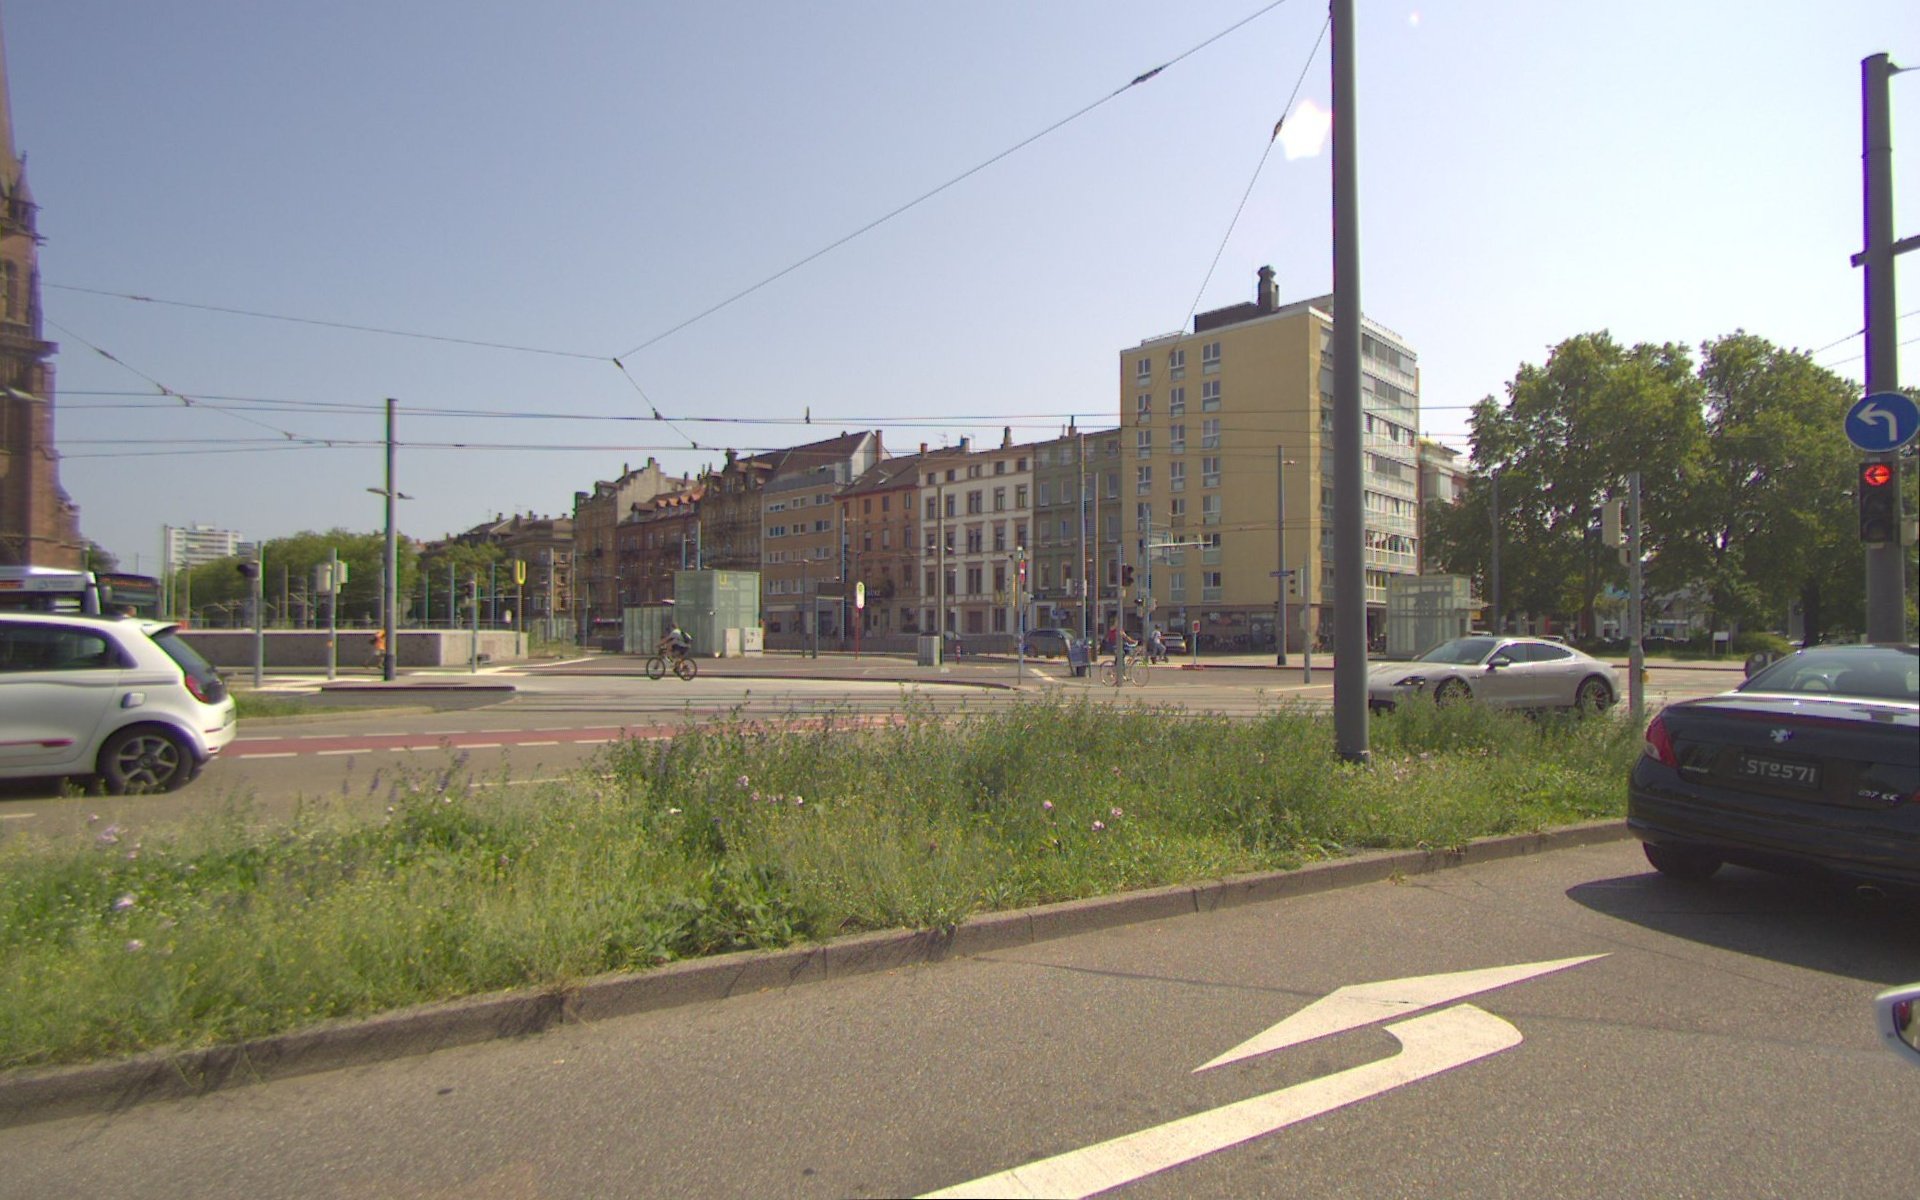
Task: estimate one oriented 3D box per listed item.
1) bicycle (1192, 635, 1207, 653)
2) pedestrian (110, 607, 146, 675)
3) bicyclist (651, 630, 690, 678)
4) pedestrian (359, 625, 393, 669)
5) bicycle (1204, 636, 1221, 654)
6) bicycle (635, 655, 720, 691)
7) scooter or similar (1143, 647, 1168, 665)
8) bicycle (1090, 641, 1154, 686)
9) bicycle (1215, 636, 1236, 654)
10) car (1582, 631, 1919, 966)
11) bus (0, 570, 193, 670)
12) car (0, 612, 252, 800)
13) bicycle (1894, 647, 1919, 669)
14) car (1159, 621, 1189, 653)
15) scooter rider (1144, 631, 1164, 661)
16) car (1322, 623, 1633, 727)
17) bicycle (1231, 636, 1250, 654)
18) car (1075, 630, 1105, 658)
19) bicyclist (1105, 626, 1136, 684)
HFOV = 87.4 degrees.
[{"bbox_3d":[16.977,3.107,71.262,0.680,1.220,2.793,0,-2,6],"label":"bicycle"},{"bbox_3d":[-22.959,1.117,27.733,0.631,1.835,0.596,2,0,-32],"label":"pedestrian"},{"bbox_3d":[-8.910,1.657,30.948,0.989,1.446,0.656,2,0,-2],"label":"bicyclist"},{"bbox_3d":[-21.385,1.715,36.802,0.843,1.563,0.742,0,-1,-10],"label":"pedestrian"},{"bbox_3d":[17.668,3.107,70.395,0.680,1.220,3.265,0,-2,6],"label":"bicycle"},{"bbox_3d":[-8.674,2.226,30.903,2.315,1.056,0.962,0,-2,0],"label":"bicycle"},{"bbox_3d":[9.036,2.584,46.433,1.132,0.835,0.517,1,-2,-34],"label":"scooter or similar"},{"bbox_3d":[4.273,1.653,26.564,0.499,1.108,1.919,1,-2,-34],"label":"bicycle"},{"bbox_3d":[18.375,3.113,69.662,0.892,1.220,3.265,0,-2,6],"label":"bicycle"},{"bbox_3d":[5.600,0.914,5.713,3.730,1.406,1.760,1,0,-25],"label":"car"},{"bbox_3d":[-29.905,0.582,29.438,12.100,2.748,3.405,0,-1,-1],"label":"bus"},{"bbox_3d":[-8.231,0.855,8.535,3.435,1.498,1.515,1,-2,-29],"label":"car"},{"bbox_3d":[42.902,2.596,44.639,0.464,0.954,2.015,1,-2,-40],"label":"bicycle"},{"bbox_3d":[13.538,2.313,63.635,1.767,1.951,4.003,0,-2,11],"label":"car"},{"bbox_3d":[8.974,2.103,46.555,0.602,1.371,0.682,1,-1,-34],"label":"scooter rider"},{"bbox_3d":[8.820,1.217,17.236,4.637,1.606,1.994,1,-1,-15],"label":"car"},{"bbox_3d":[19.216,3.084,68.917,0.680,1.220,3.265,0,-2,6],"label":"bicycle"},{"bbox_3d":[8.953,3.001,68.836,1.767,1.843,4.003,0,-2,11],"label":"car"},{"bbox_3d":[4.268,1.453,26.723,0.632,1.529,0.554,1,-1,-35],"label":"bicyclist"}]
